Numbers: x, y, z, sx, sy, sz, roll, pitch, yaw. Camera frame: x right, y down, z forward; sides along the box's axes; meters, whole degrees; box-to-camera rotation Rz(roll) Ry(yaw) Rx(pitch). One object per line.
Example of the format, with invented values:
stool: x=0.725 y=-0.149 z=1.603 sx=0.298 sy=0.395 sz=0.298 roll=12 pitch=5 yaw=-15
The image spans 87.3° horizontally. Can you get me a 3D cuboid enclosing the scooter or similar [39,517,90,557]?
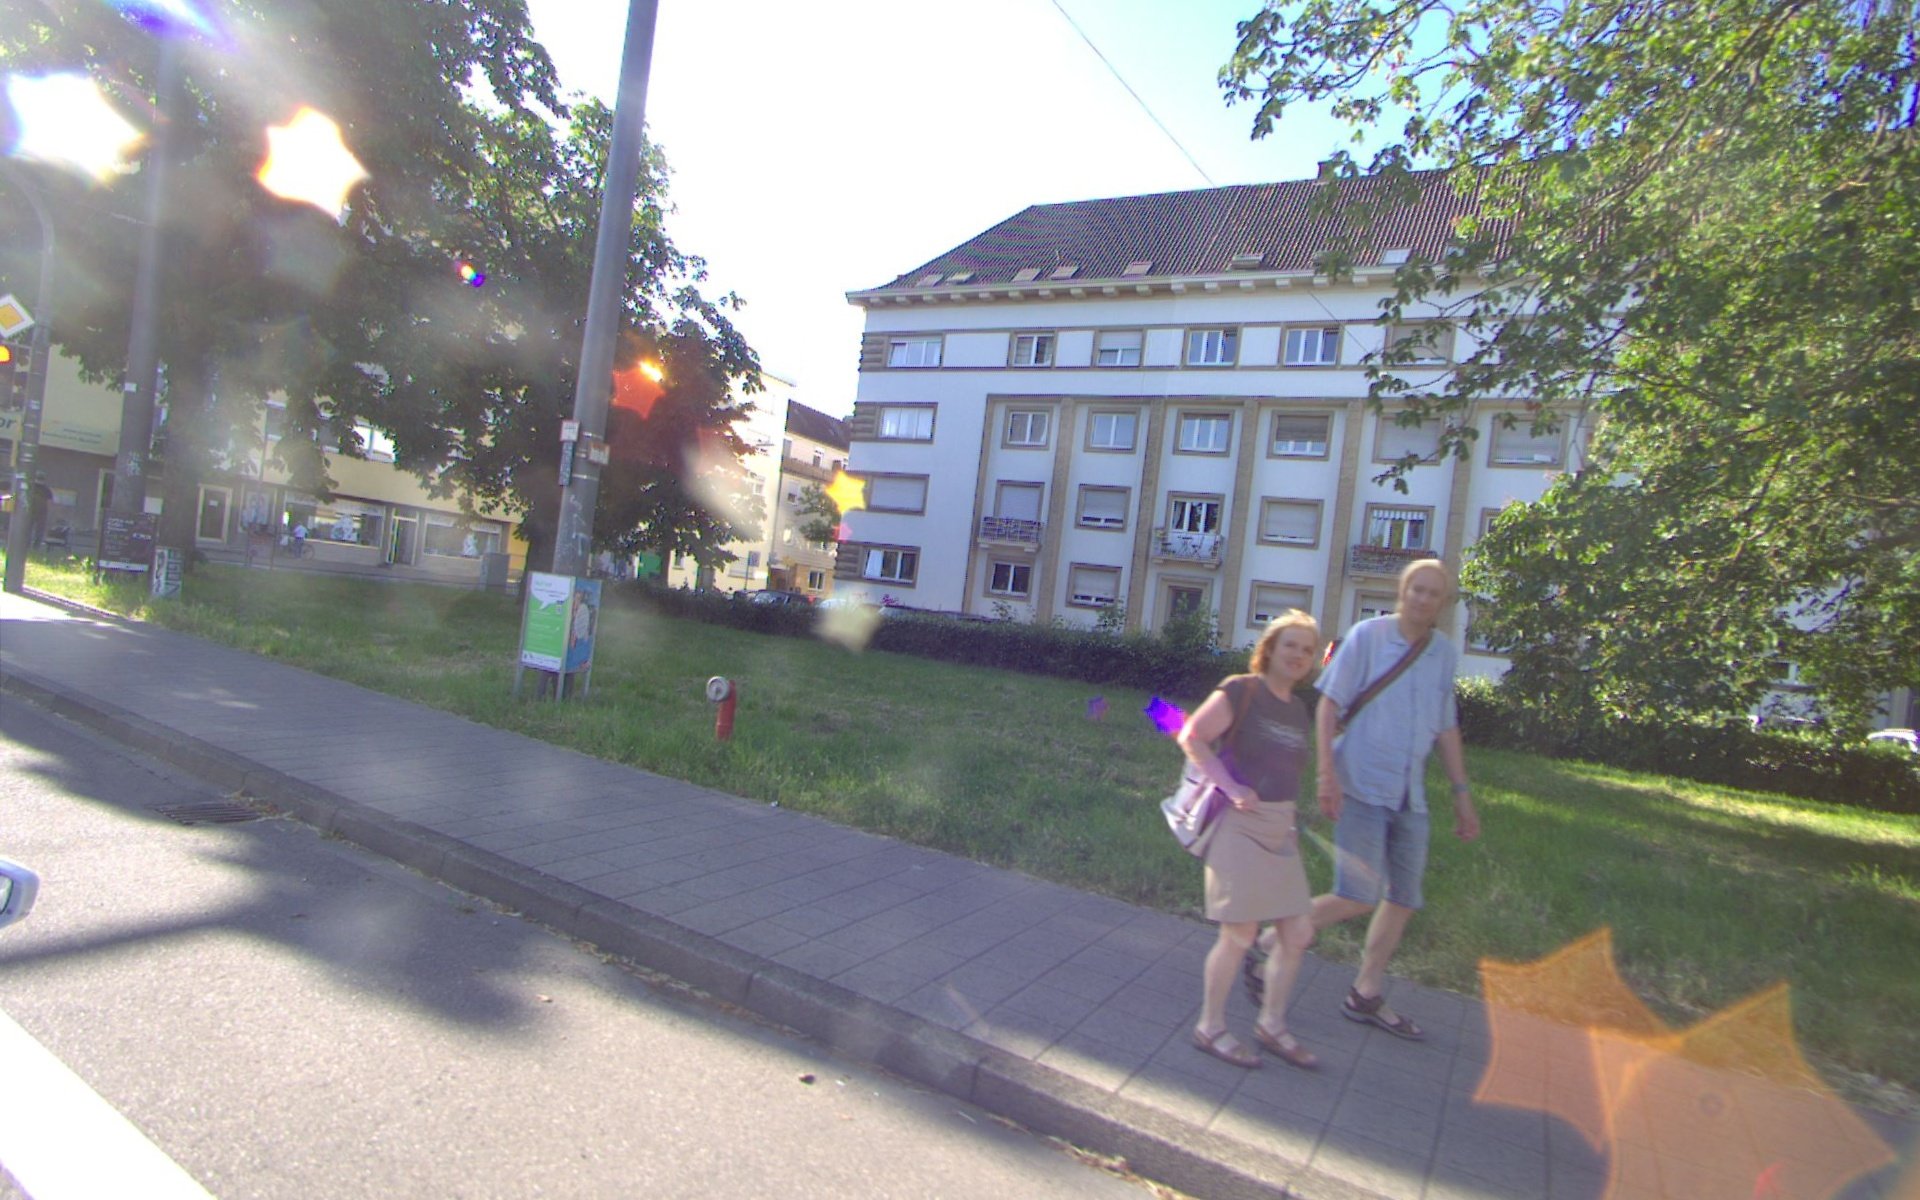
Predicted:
scooter or similar: x=-19.920 y=-1.391 z=22.382 sx=0.670 sy=0.745 sz=0.599 roll=7 pitch=-2 yaw=31

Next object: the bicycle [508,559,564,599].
bicycle: x=-13.455 y=-0.677 z=31.894 sx=1.766 sy=1.046 sz=0.598 roll=7 pitch=-2 yaw=31

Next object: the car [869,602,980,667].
car: x=-0.951 y=1.015 z=28.589 sx=1.549 sy=1.547 sz=3.254 roll=7 pitch=-1 yaw=29

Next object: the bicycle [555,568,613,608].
bicycle: x=-12.551 y=-0.405 z=33.594 sx=1.973 sy=1.046 sz=0.598 roll=7 pitch=-2 yaw=31

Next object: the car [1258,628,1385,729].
car: x=8.286 y=1.838 z=22.831 sx=1.739 sy=1.813 sz=3.997 roll=7 pitch=-3 yaw=32

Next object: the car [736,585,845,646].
car: x=-5.250 y=0.523 z=31.530 sx=1.549 sy=1.547 sz=3.254 roll=7 pitch=-1 yaw=29

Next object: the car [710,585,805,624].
car: x=-12.166 y=0.267 z=60.573 sx=5.062 sy=1.513 sz=2.208 roll=8 pitch=1 yaw=-35

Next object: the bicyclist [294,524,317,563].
bicyclist: x=-28.882 y=-2.491 z=44.394 sx=0.456 sy=1.584 sz=0.528 roll=7 pitch=-2 yaw=29

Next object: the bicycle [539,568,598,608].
bicycle: x=-12.862 y=-0.393 z=33.036 sx=1.957 sy=1.046 sz=0.598 roll=7 pitch=-2 yaw=31

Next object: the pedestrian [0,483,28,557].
pedestrian: x=-20.839 y=-1.752 z=21.878 sx=0.489 sy=1.539 sz=0.646 roll=7 pitch=-2 yaw=43

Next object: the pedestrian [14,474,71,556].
pedestrian: x=-20.504 y=-1.899 z=22.484 sx=0.525 sy=1.701 sz=0.729 roll=7 pitch=-2 yaw=43

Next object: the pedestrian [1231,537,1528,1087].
pedestrian: x=1.602 y=0.722 z=3.833 sx=0.683 sy=1.814 sz=0.702 roll=9 pitch=4 yaw=37

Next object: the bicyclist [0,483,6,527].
bicyclist: x=-32.952 y=-3.279 z=34.078 sx=0.765 sy=1.490 sz=0.887 roll=6 pitch=2 yaw=-42

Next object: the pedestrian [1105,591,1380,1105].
pedestrian: x=0.981 y=0.781 z=3.491 sx=0.618 sy=1.548 sz=0.529 roll=7 pitch=2 yaw=37

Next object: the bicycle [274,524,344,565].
bicycle: x=-29.138 y=-2.470 z=45.074 sx=0.598 sy=1.414 sz=2.477 roll=7 pitch=-3 yaw=30

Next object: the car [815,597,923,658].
car: x=-2.710 y=0.869 z=30.619 sx=1.549 sy=1.547 sz=3.254 roll=7 pitch=-1 yaw=29

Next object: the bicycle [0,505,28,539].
bicycle: x=-33.087 y=-2.773 z=33.996 sx=2.246 sy=1.000 sz=0.778 roll=9 pitch=3 yaw=-44

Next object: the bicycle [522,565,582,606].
bicycle: x=-13.186 y=-0.475 z=32.471 sx=1.973 sy=1.046 sz=0.598 roll=7 pitch=-2 yaw=31
